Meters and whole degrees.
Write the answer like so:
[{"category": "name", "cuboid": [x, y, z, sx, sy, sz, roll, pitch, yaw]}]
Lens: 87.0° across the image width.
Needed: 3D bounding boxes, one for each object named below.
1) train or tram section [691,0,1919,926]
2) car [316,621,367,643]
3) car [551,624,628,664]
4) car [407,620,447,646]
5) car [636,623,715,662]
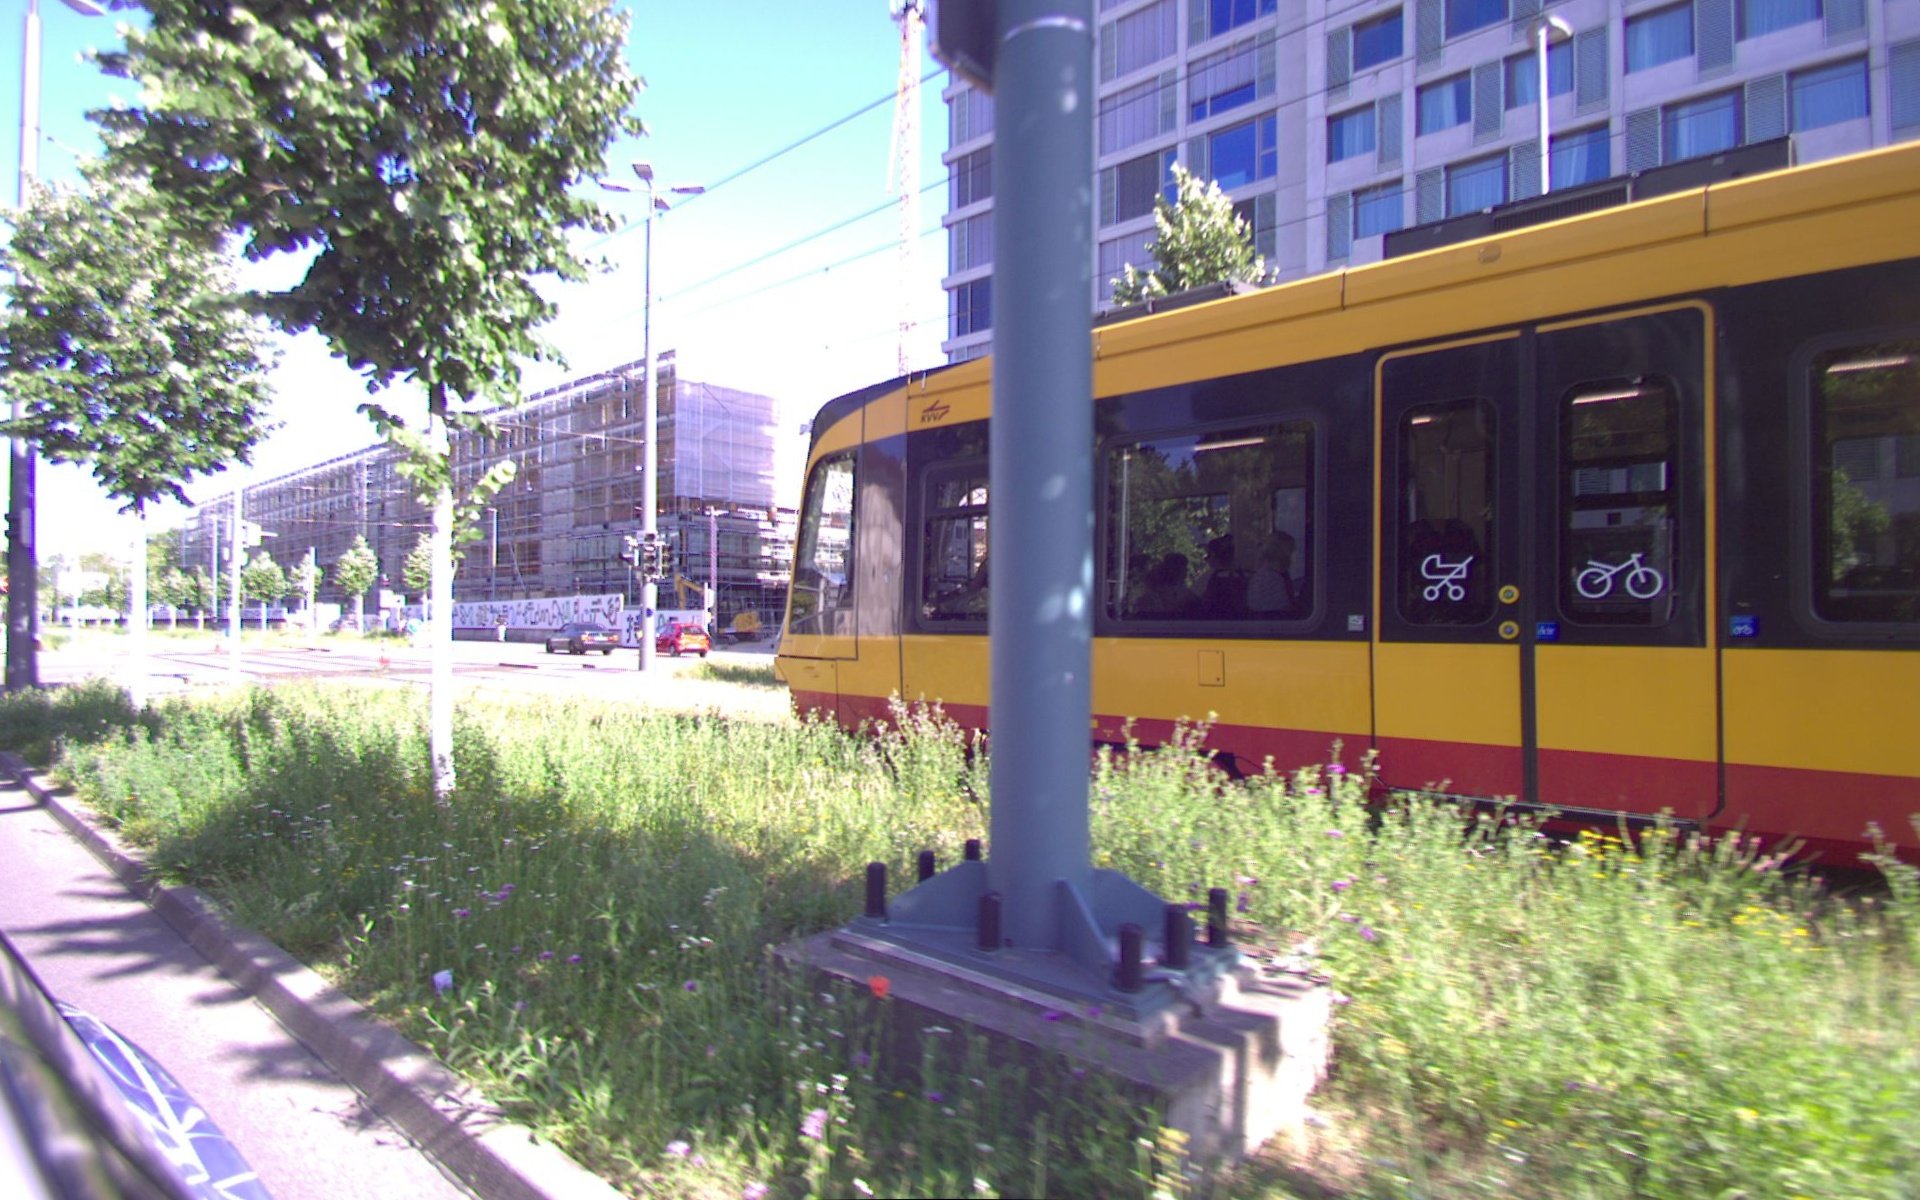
[{"category": "train or tram section", "cuboid": [3.331, -0.555, 5.707, 14.148, 3.697, 1.972, -1, -1, 42]}, {"category": "car", "cuboid": [-46.286, 2.393, 75.703, 3.991, 1.586, 1.868, -1, -1, 35]}, {"category": "car", "cuboid": [-16.194, 1.888, 44.136, 1.861, 1.586, 4.006, 0, -1, -41]}, {"category": "car", "cuboid": [-32.790, 2.004, 62.237, 1.700, 1.508, 3.583, 0, 0, -36]}, {"category": "car", "cuboid": [-12.630, 1.854, 44.838, 1.861, 1.586, 4.006, 0, -1, -41]}]
